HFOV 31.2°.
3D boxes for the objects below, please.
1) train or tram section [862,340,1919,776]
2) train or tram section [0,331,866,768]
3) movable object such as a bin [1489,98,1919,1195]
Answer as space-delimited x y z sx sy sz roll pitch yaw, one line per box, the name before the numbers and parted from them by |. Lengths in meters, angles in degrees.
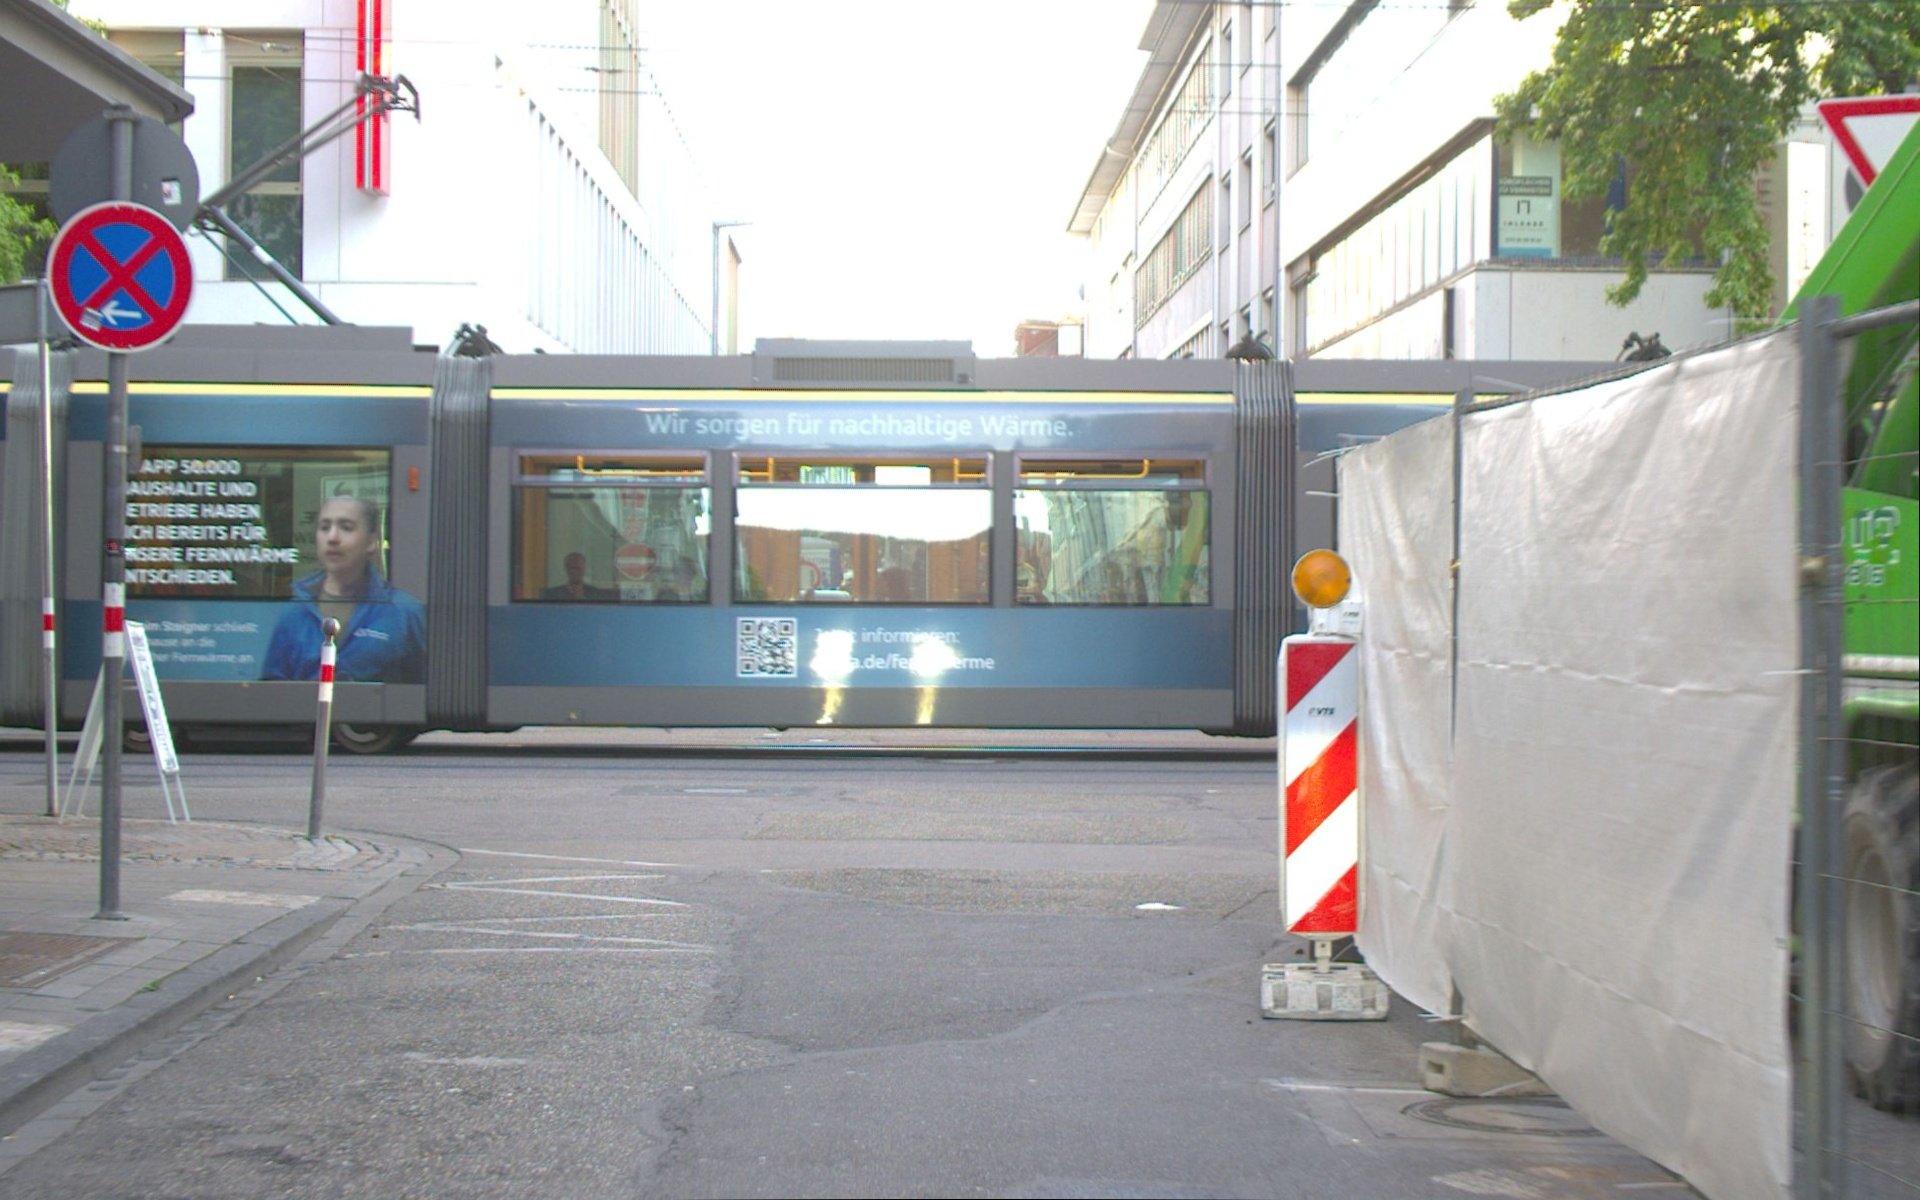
train or tram section | 4.346 -0.341 29.361 10.335 3.512 3.026 0 0 -1
train or tram section | -5.995 -0.389 29.167 10.367 3.512 3.017 0 -1 -1
movable object such as a bin | 3.675 0.098 11.535 2.635 2.863 5.566 -1 0 -3
